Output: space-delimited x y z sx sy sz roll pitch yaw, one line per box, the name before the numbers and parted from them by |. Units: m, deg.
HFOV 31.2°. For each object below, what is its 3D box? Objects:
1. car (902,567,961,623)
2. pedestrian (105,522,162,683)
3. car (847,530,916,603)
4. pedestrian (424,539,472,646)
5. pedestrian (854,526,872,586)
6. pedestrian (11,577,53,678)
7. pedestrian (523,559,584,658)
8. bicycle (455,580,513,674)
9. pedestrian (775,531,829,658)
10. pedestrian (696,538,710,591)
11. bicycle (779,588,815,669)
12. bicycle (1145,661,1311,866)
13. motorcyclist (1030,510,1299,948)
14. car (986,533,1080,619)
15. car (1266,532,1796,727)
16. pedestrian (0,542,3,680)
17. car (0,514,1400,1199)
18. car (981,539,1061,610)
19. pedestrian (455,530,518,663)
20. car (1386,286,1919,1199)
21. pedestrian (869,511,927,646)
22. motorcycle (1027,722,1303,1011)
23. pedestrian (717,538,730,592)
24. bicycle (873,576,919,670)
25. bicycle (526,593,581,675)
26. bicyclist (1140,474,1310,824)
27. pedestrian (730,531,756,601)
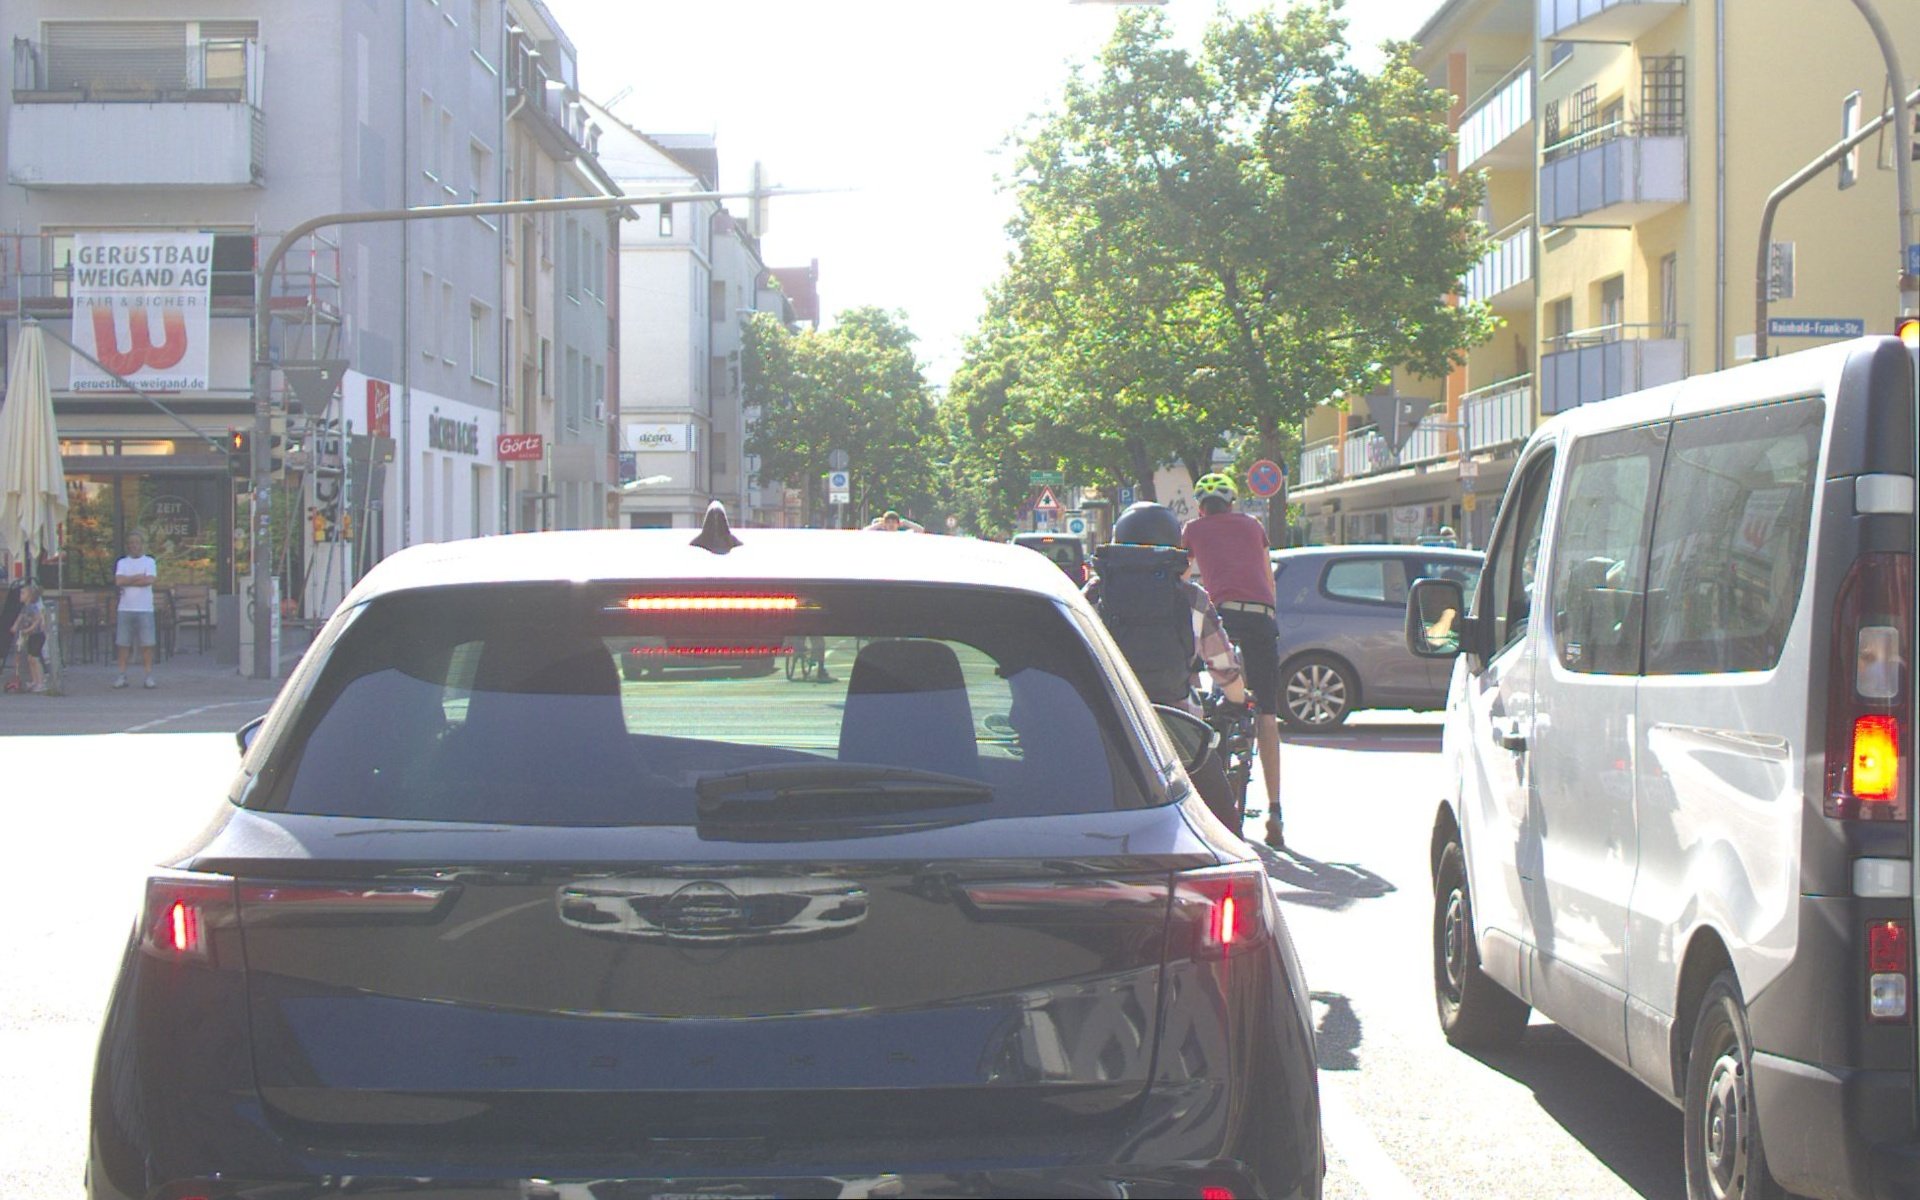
car | -0.903 -0.176 111.131 1.825 1.722 4.000 0 1 1
pedestrian | -9.153 0.023 38.079 0.561 1.769 0.584 0 1 -9
car | -2.157 -0.944 95.413 1.855 2.007 3.881 0 1 -1
pedestrian | -7.284 -0.113 48.963 0.617 1.516 0.725 0 1 -3
pedestrian | -2.731 -1.232 97.057 0.488 1.684 0.588 0 1 -1
pedestrian | -10.106 0.295 37.445 0.355 1.088 0.462 0 1 -3
pedestrian | -5.154 0.102 43.574 0.706 1.249 0.802 0 1 -2
bicycle | -6.073 0.332 43.908 0.521 1.143 2.284 0 1 -2
pedestrian | -2.011 -0.071 43.754 0.680 1.600 0.762 0 1 -2
pedestrian | -8.075 -1.115 108.072 0.402 1.669 0.418 0 1 -1
bicycle | -2.073 0.353 43.955 0.443 0.989 2.069 0 1 -2
bicycle | 1.345 0.805 17.617 0.577 0.901 2.301 0 1 -2
motorcyclist | 0.712 0.432 12.349 0.864 1.497 1.160 0 1 -2
car | 1.507 -0.525 71.691 1.902 1.722 4.073 0 1 1
car | 4.575 0.217 27.963 3.987 1.481 1.833 -1 1 0
pedestrian | -10.794 0.127 37.460 0.584 1.516 0.650 0 1 -3
car | -0.416 0.628 6.328 1.770 1.525 4.001 0 1 -2
car | 1.495 -0.649 85.432 1.902 1.722 4.000 0 1 0
pedestrian | -6.014 -0.052 43.689 0.706 1.672 0.802 0 1 -2
car | 2.434 0.429 8.466 1.993 1.972 4.896 2 1 -1
pedestrian | -0.793 -0.281 43.579 0.706 1.695 0.802 0 1 -2
motorcycle | 0.686 0.901 12.142 0.825 0.842 1.885 0 1 -1
pedestrian | -7.402 -1.102 107.663 0.402 1.669 0.418 0 1 -1
bicycle | -0.820 0.275 43.686 0.521 1.143 2.170 0 1 -2
bicycle | -5.176 0.419 43.881 0.521 0.989 2.340 0 1 -2
bicyclist | 1.332 0.229 17.502 0.689 1.707 1.414 0 1 -2
pedestrian | -5.286 -0.829 83.752 0.570 1.684 0.588 0 1 4
